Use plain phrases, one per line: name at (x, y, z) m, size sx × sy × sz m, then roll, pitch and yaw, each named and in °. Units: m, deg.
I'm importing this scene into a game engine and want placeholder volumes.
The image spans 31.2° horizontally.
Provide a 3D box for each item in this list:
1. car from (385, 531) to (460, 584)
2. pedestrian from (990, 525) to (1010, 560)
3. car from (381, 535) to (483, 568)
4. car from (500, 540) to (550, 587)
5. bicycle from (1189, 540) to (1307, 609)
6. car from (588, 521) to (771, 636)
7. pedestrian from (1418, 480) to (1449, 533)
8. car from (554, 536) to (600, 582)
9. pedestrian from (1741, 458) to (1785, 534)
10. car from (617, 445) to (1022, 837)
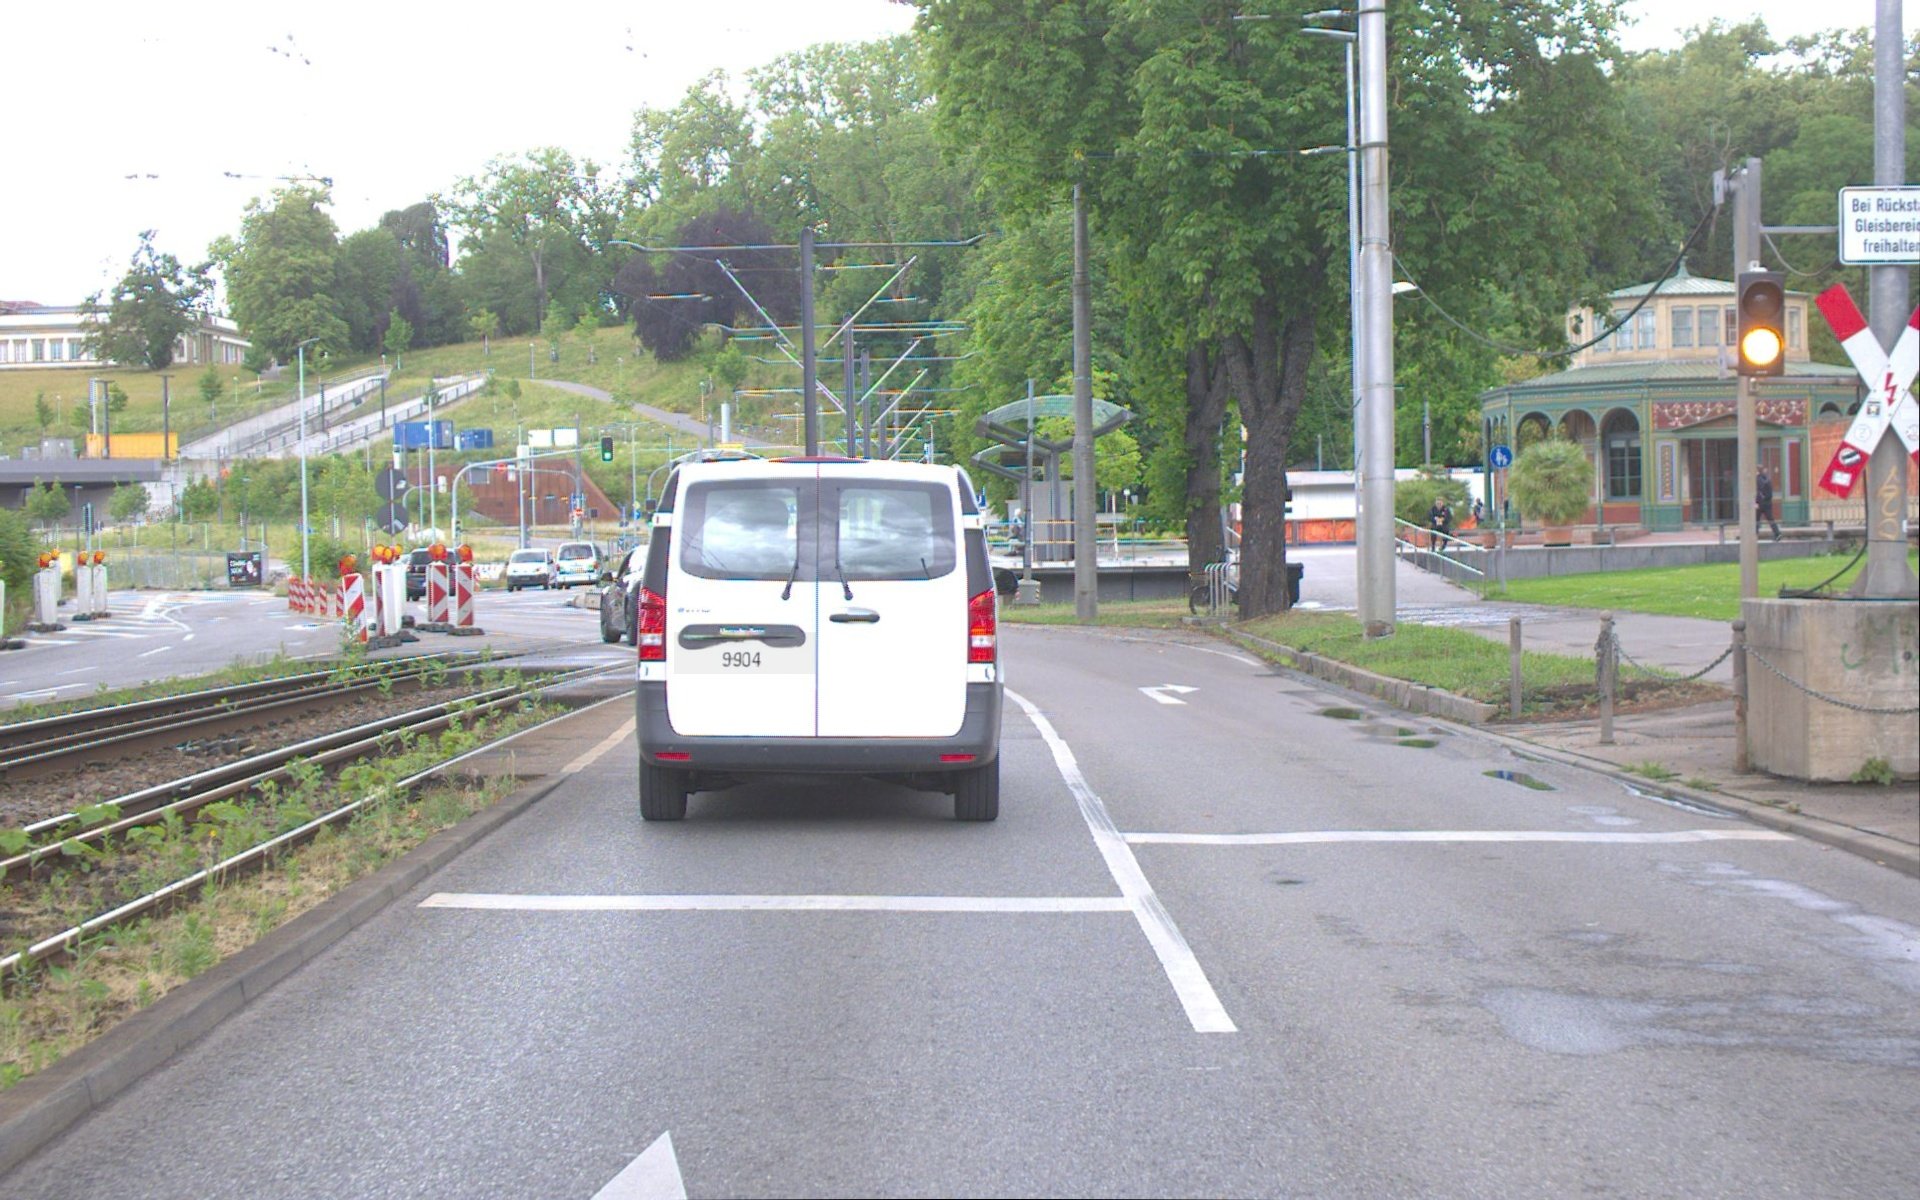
car at (-15.092, -1.188, 96.343) m, size 1.838 × 1.462 × 4.063 m, roll 0°, pitch 1°, yaw -12°
pedestrian at (1.380, -1.973, 118.810) m, size 0.657 × 1.187 × 0.675 m, roll 1°, pitch 0°, yaw 2°
car at (-26.991, -2.470, 175.757) m, size 4.711 × 1.472 × 1.999 m, roll -2°, pitch 2°, yaw 10°
car at (-19.034, -1.583, 150.636) m, size 1.934 × 2.007 × 4.001 m, roll 1°, pitch 1°, yaw -4°
bicycle at (5.000, -0.451, 59.731) m, size 1.991 × 1.154 × 0.741 m, roll -1°, pitch 1°, yaw 5°
car at (-4.083, -0.323, 49.485) m, size 1.838 × 1.577 × 4.063 m, roll 0°, pitch 1°, yaw -16°
pedestrian at (10.886, -2.153, 79.072) m, size 0.548 × 1.197 × 0.669 m, roll 1°, pitch 0°, yaw -6°
car at (-15.068, -1.606, 135.348) m, size 1.752 × 1.766 × 4.001 m, roll 1°, pitch 1°, yaw -6°
pedestrian at (19.508, -2.533, 83.568) m, size 0.949 × 1.831 × 0.549 m, roll 1°, pitch 0°, yaw 6°
car at (-0.719, 0.172, 18.926) m, size 1.959 × 1.897 × 4.462 m, roll 0°, pitch 1°, yaw -1°
